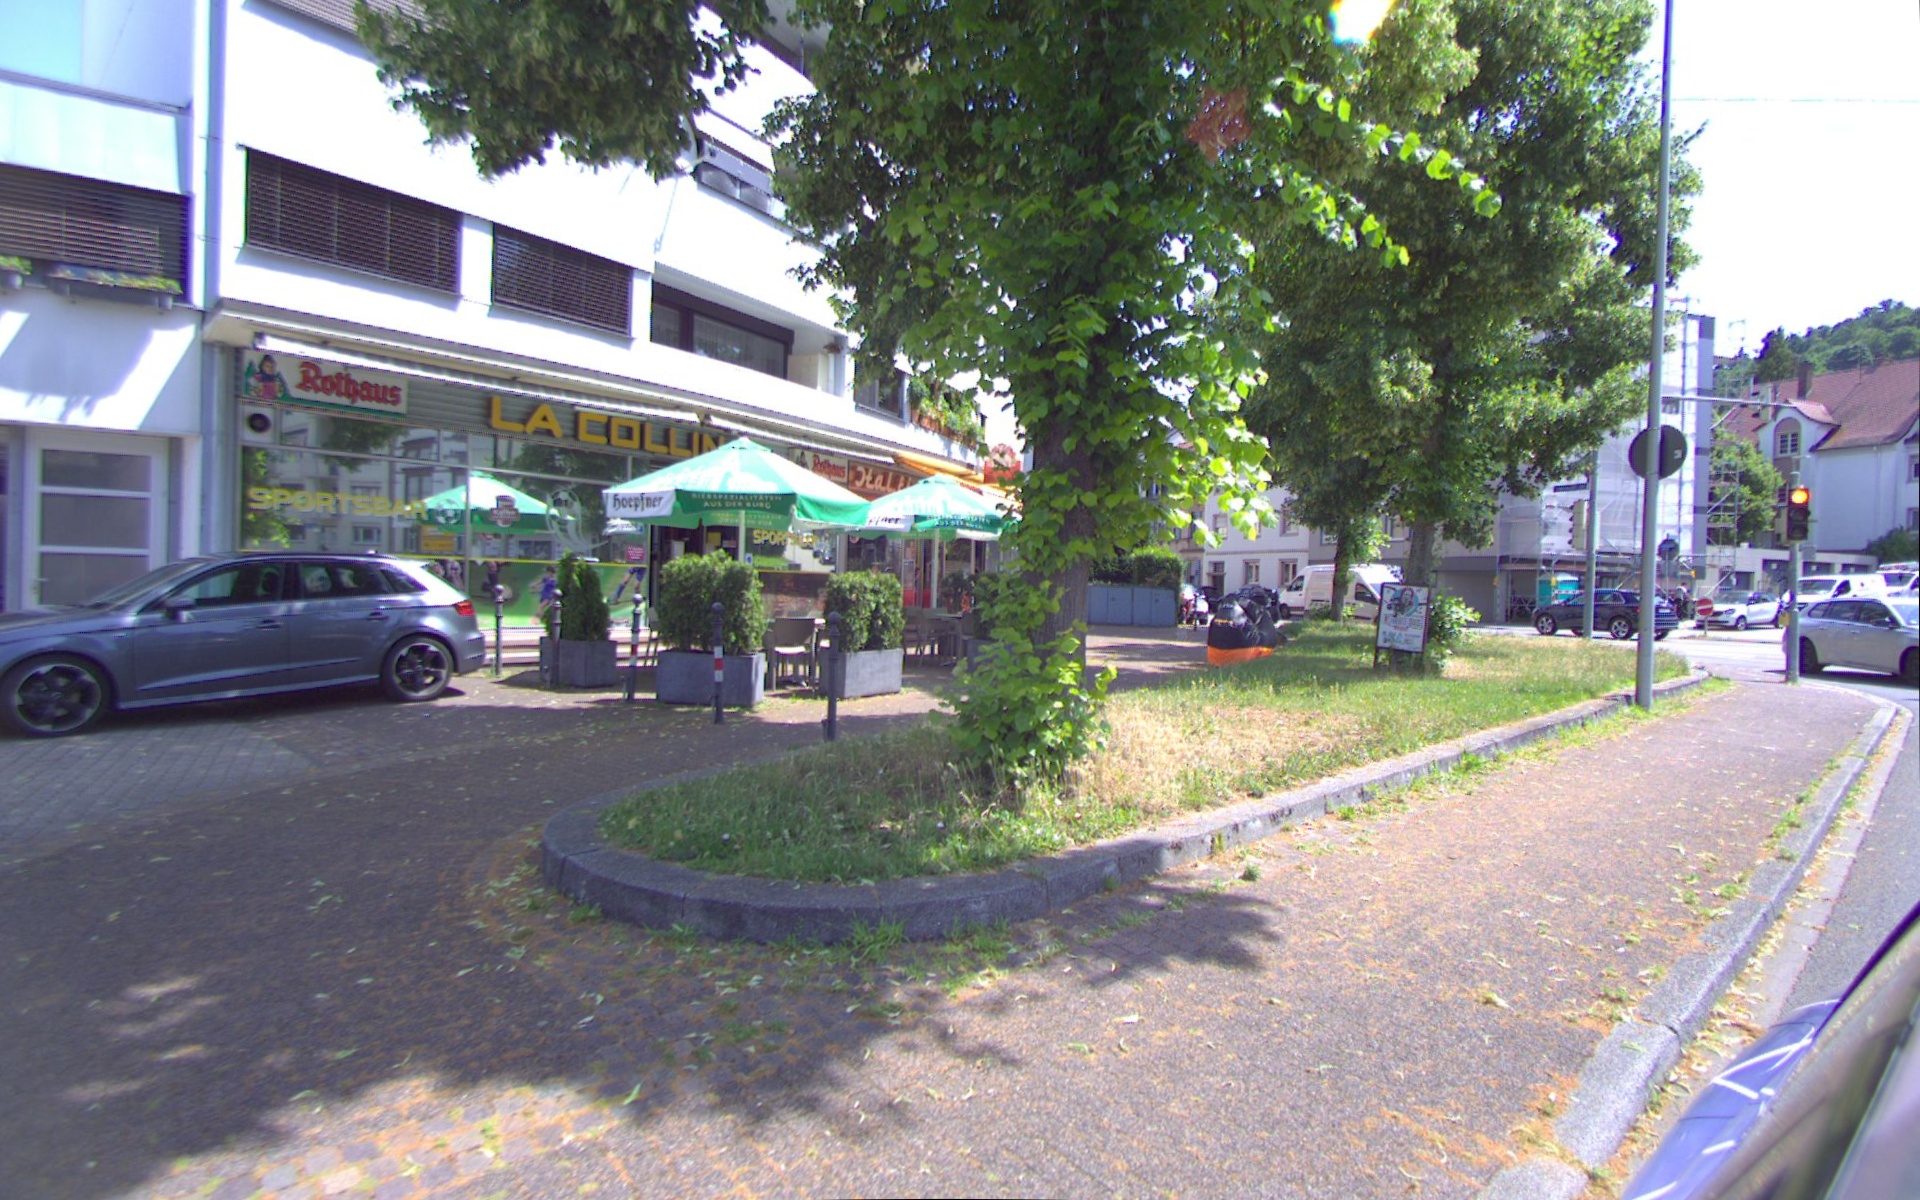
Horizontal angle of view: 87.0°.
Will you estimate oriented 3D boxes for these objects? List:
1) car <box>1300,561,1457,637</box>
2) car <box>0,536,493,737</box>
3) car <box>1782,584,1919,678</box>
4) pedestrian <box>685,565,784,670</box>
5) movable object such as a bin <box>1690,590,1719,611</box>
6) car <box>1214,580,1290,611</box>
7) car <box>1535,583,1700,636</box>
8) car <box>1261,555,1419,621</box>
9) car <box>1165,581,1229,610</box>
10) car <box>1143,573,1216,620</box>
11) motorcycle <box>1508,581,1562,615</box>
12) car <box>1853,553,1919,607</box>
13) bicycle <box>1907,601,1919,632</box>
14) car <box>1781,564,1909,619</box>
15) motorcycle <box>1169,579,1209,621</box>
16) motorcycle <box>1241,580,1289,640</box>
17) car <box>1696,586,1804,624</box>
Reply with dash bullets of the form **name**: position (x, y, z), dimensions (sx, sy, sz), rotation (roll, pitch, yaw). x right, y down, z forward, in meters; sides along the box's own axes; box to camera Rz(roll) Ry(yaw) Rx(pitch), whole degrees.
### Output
- **car**: position (13.833, -0.097, 33.941), dimensions (1.866, 2.302, 5.684), rotation (1, 1, -13)
- **car**: position (-6.648, 0.208, 8.950), dimensions (1.700, 1.446, 4.301), rotation (2, 2, 39)
- **car**: position (16.585, 0.504, 17.236), dimensions (1.874, 1.516, 4.478), rotation (1, 1, 7)
- **pedestrian**: position (-2.991, 0.210, 13.473), dimensions (0.810, 1.322, 1.004), rotation (1, 1, 36)
- **movable object such as a bin**: position (32.991, 0.009, 44.852), dimensions (0.725, 0.938, 0.705), rotation (0, 1, -15)
- **car**: position (16.830, -0.285, 58.587), dimensions (1.851, 1.661, 4.674), rotation (2, 1, -18)
- **car**: position (21.357, 0.259, 33.081), dimensions (1.819, 1.577, 4.295), rotation (0, 1, -20)
- **car**: position (16.970, -0.661, 45.831), dimensions (2.177, 2.530, 7.573), rotation (-4, 4, -21)
- **car**: position (15.034, -0.321, 64.501), dimensions (1.851, 1.661, 4.829), rotation (2, 1, -16)
- **car**: position (7.955, -0.110, 37.072), dimensions (1.807, 1.568, 5.150), rotation (2, 0, 4)
- **motorcycle**: position (26.044, -0.114, 45.885), dimensions (2.019, 1.490, 0.876), rotation (1, 1, 22)
- **car**: position (43.077, -0.961, 45.373), dimensions (4.908, 2.204, 2.079), rotation (-3, 2, -14)
- **bicycle**: position (30.946, 0.527, 31.794), dimensions (0.390, 0.979, 1.750), rotation (0, 1, -21)
- **car**: position (37.258, -0.399, 42.615), dimensions (4.908, 2.038, 2.004), rotation (-3, 2, -22)
- **motorcycle**: position (7.490, 0.013, 33.185), dimensions (0.917, 1.319, 2.277), rotation (2, 0, 5)
- **motorcycle**: position (7.151, 0.202, 23.795), dimensions (0.904, 1.329, 2.217), rotation (0, 1, 13)
- **car**: position (32.064, 0.172, 41.081), dimensions (3.661, 1.465, 1.762), rotation (-1, 1, -20)
